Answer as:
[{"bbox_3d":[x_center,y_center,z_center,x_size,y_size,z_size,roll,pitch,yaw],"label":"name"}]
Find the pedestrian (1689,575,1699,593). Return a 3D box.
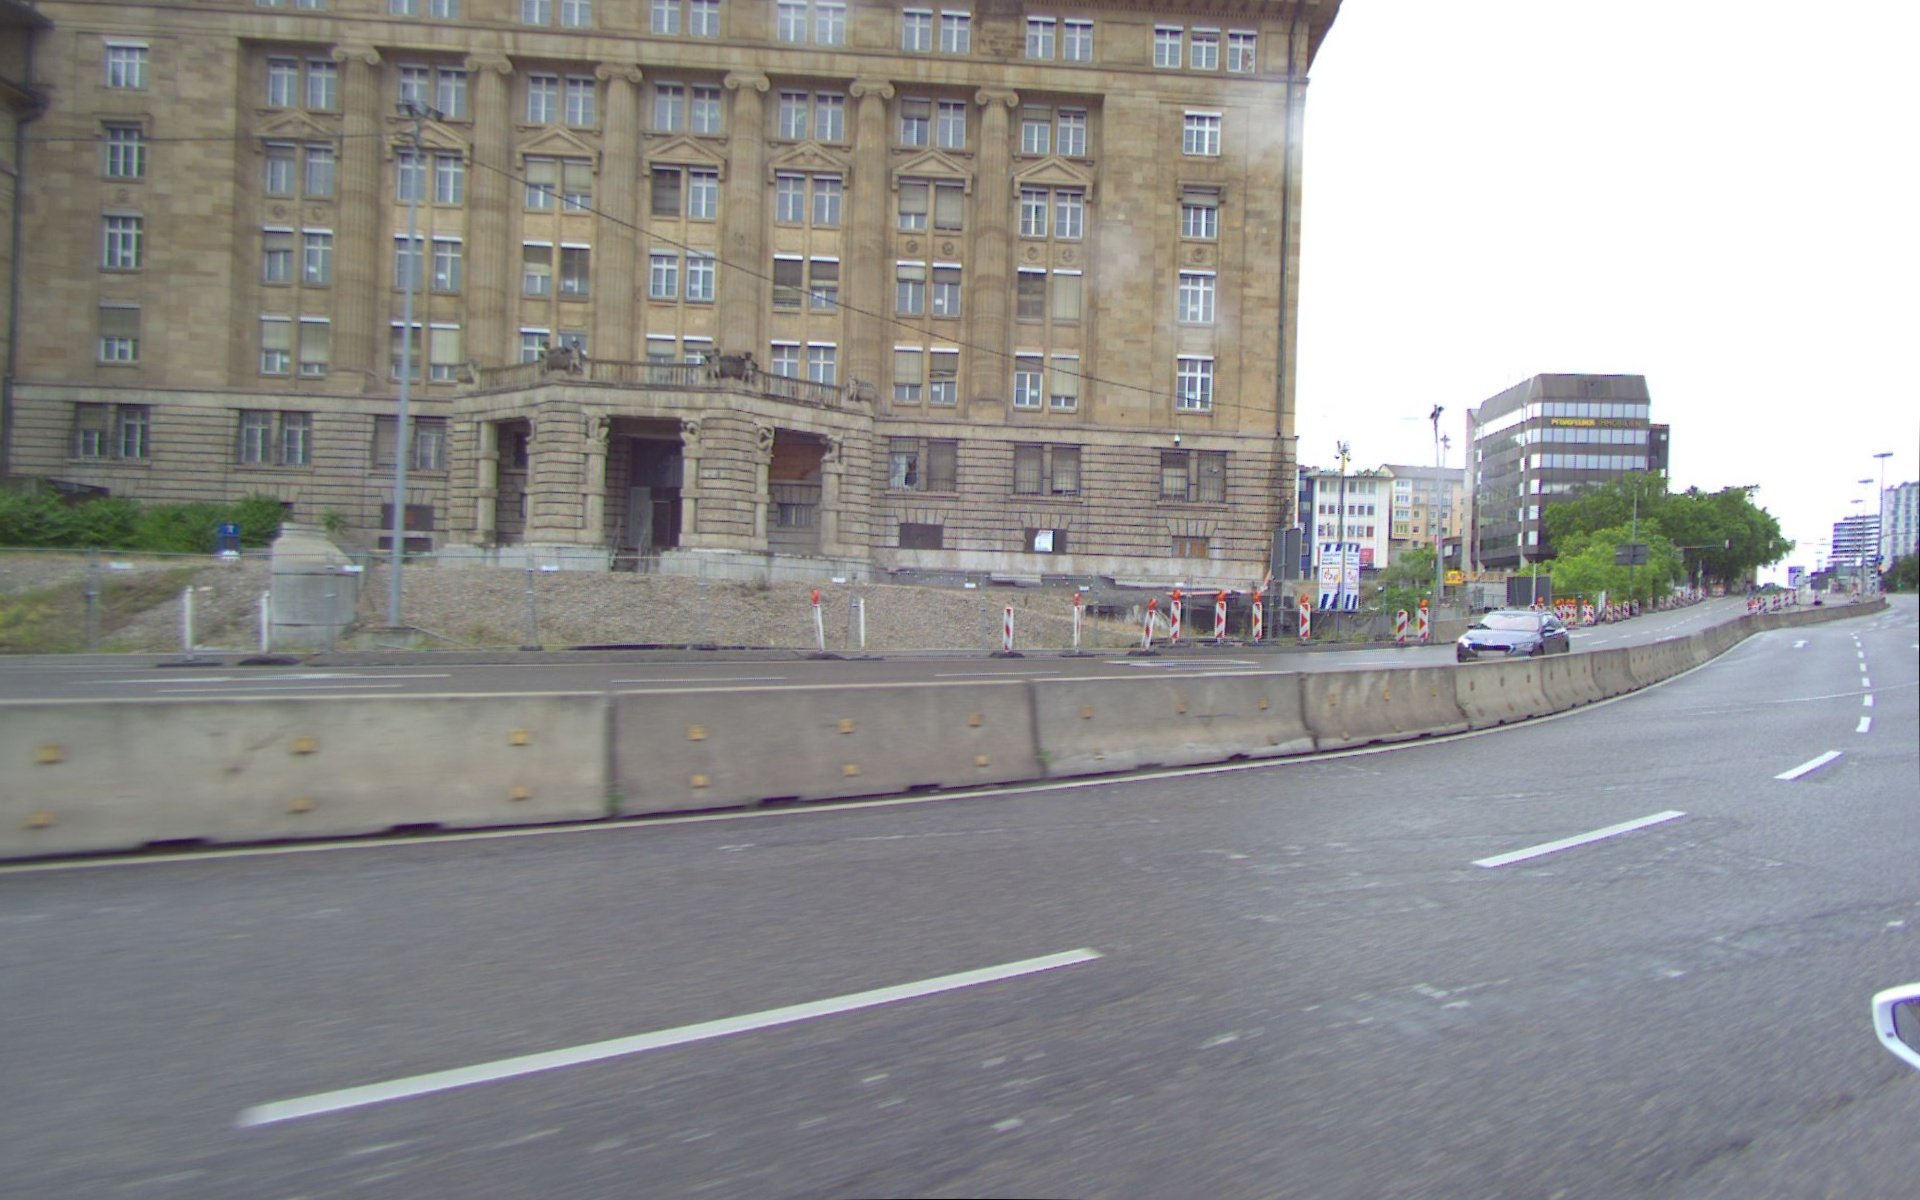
[{"bbox_3d":[80.229,-1.788,109.729,0.753,1.948,0.738,2,0,44],"label":"pedestrian"}]

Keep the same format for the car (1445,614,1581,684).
[{"bbox_3d":[13.881,1.182,25.090,4.357,1.541,1.749,2,0,-44],"label":"car"}]

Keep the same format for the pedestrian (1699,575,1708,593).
[{"bbox_3d":[80.831,-1.749,109.209,0.665,1.927,0.771,2,0,44],"label":"pedestrian"}]
